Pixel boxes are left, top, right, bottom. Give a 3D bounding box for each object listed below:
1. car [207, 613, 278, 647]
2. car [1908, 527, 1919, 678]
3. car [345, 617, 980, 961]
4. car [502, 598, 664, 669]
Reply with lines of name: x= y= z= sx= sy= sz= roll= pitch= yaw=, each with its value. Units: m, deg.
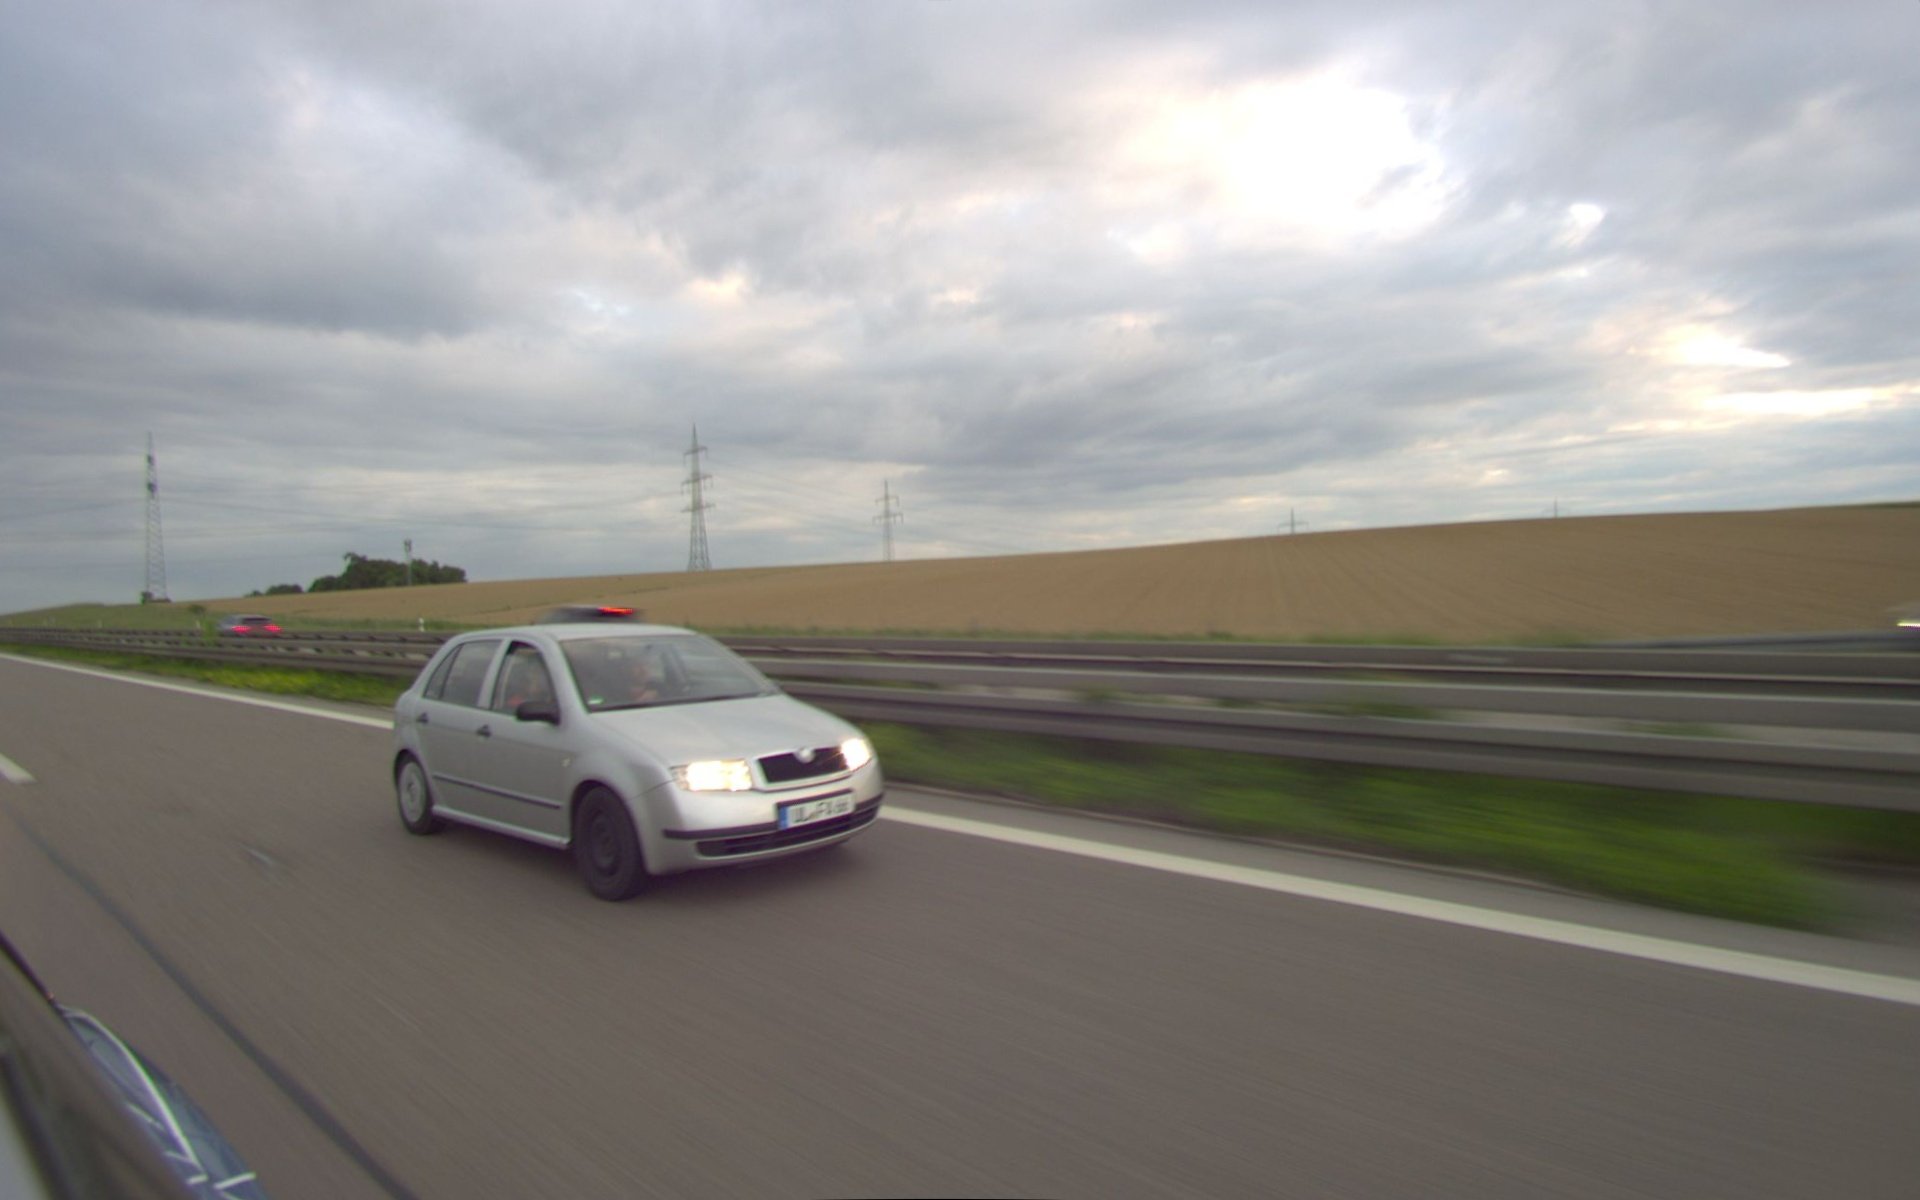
car: x=-32.177 y=1.349 z=45.321 sx=4.618 sy=1.375 sz=1.550 roll=-2 pitch=2 yaw=42
car: x=13.279 y=-0.060 z=9.868 sx=5.766 sy=1.706 sz=1.867 roll=-2 pitch=2 yaw=42
car: x=-2.149 y=0.843 z=6.347 sx=4.599 sy=1.400 sz=1.572 roll=-1 pitch=0 yaw=41
car: x=-8.970 y=0.799 z=23.937 sx=4.125 sy=1.451 sz=1.644 roll=-2 pitch=2 yaw=39
